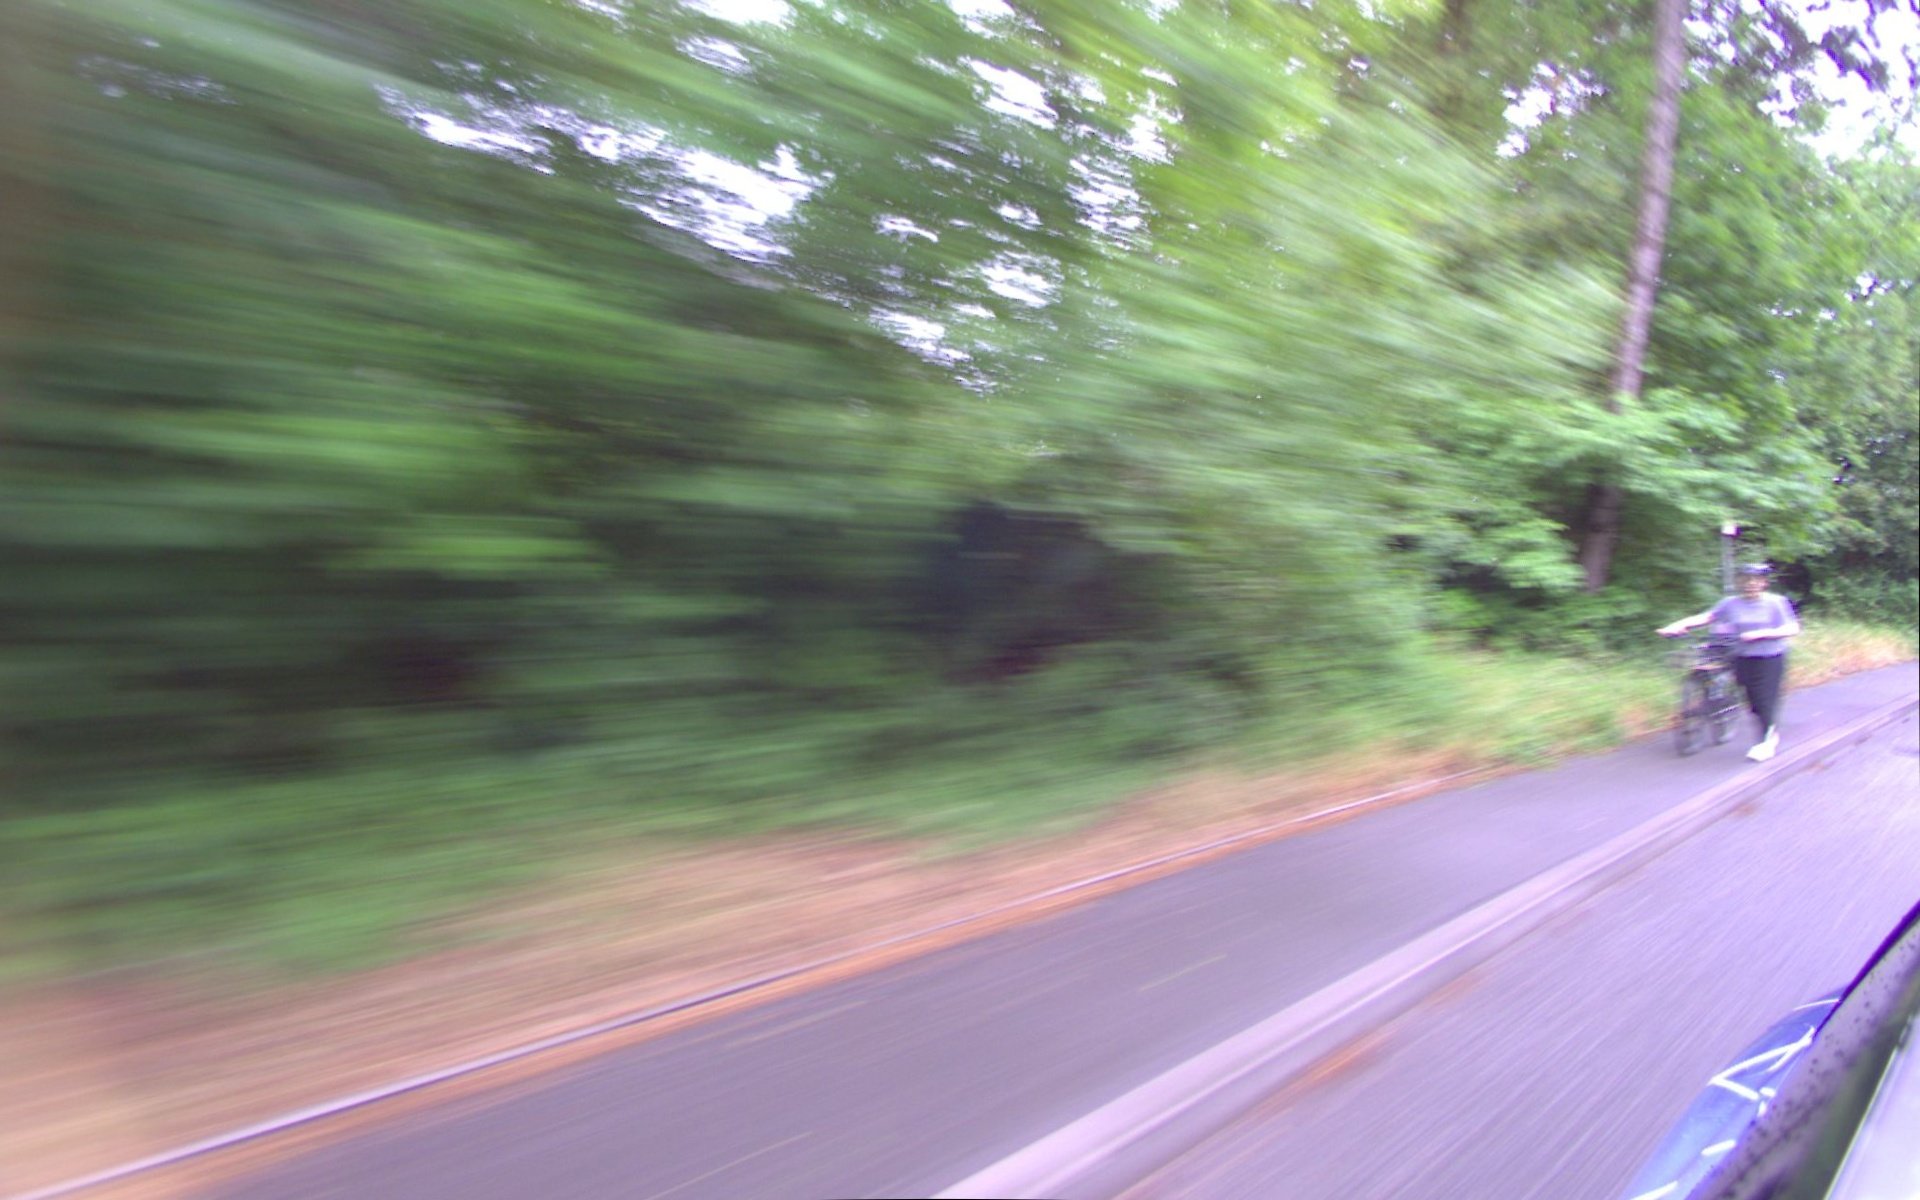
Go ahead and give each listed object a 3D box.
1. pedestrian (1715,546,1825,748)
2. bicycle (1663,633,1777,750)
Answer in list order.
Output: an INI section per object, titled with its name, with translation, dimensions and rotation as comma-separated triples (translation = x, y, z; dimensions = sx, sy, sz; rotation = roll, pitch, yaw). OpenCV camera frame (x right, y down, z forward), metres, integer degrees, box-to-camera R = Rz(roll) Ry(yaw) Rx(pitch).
[pedestrian]
translation = 6.840, 0.357, 8.542
dimensions = 0.756, 1.596, 0.565
rotation = -4, 4, -39
[bicycle]
translation = 6.690, 0.763, 8.878
dimensions = 1.711, 0.859, 0.356
rotation = -1, 4, -39
